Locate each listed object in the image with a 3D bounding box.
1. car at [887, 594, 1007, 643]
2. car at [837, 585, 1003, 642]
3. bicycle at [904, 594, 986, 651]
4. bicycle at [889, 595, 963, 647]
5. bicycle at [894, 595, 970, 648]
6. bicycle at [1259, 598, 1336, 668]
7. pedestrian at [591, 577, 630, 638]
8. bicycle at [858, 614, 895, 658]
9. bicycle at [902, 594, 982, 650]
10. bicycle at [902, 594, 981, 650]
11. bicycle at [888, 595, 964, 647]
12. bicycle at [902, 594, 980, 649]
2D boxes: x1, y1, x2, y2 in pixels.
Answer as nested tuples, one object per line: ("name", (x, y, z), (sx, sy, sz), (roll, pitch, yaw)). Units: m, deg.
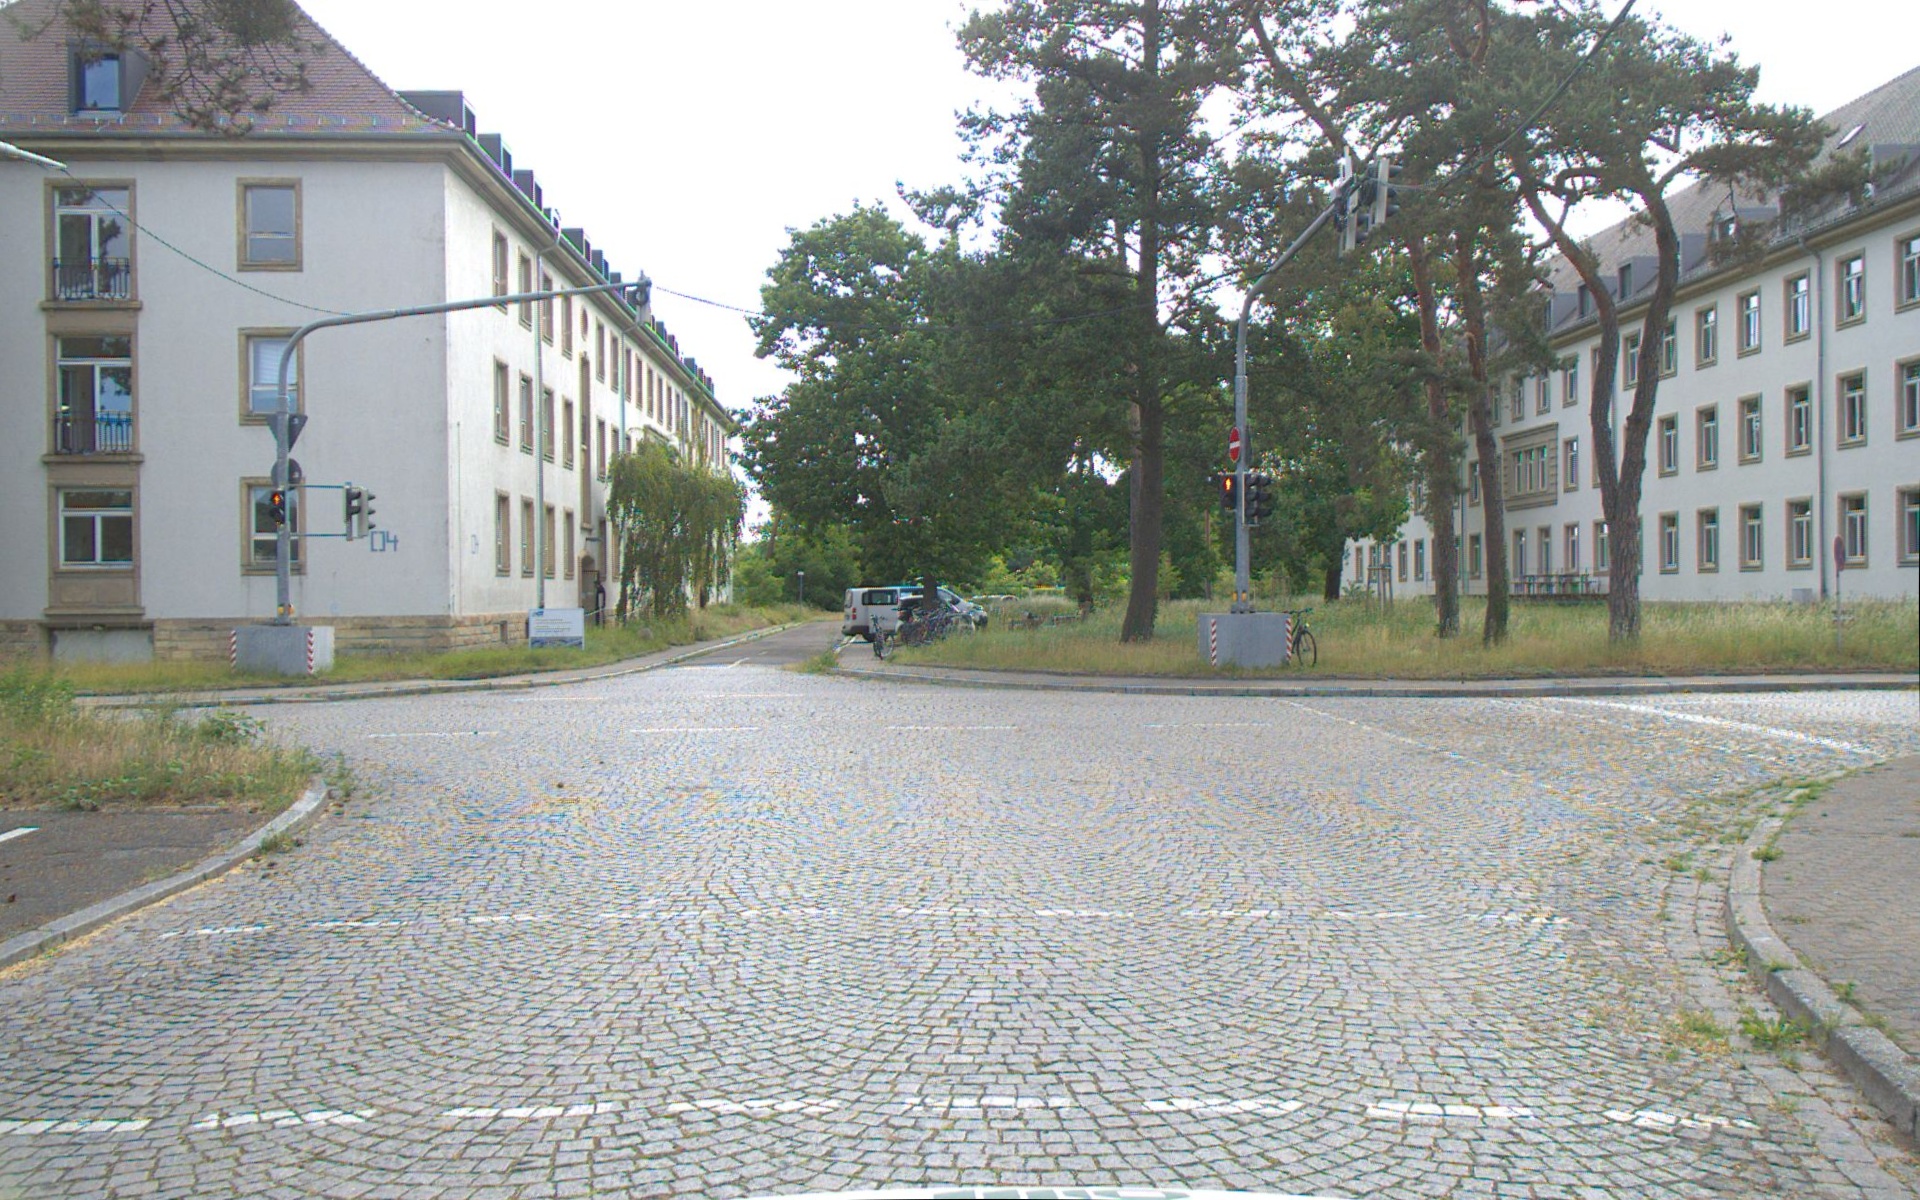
("car", (-0.465, 0.614, 56.030), (3.857, 1.571, 1.997), (-1, 0, -7))
("car", (-1.457, 0.471, 59.366), (5.596, 1.944, 2.222), (-1, 0, -14))
("bicycle", (-0.390, 0.555, 41.508), (2.028, 1.402, 0.620), (-1, 0, -2))
("bicycle", (-0.935, 0.573, 45.866), (2.028, 1.402, 0.620), (-1, 0, -2))
("bicycle", (-0.749, 0.565, 44.387), (2.028, 1.402, 0.620), (-1, 0, -2))
("bicycle", (5.989, 0.568, 29.460), (0.890, 1.197, 1.873), (-1, 0, -3))
("pedestrian", (-11.964, 0.247, 56.601), (1.064, 2.049, 1.022), (-1, 0, 3))
("bicycle", (-1.988, 0.851, 39.653), (0.605, 0.980, 2.078), (-1, 0, 5))
("bicycle", (-0.456, 0.558, 42.176), (2.028, 1.402, 0.620), (-1, 0, -2))
("bicycle", (-0.481, 0.562, 42.800), (2.028, 1.402, 0.620), (-1, 0, -2))
("bicycle", (-0.923, 0.567, 45.119), (2.028, 1.402, 0.620), (-1, 0, -2))
("bicycle", (-0.500, 0.567, 43.597), (2.028, 1.402, 0.620), (-1, 0, -2))
